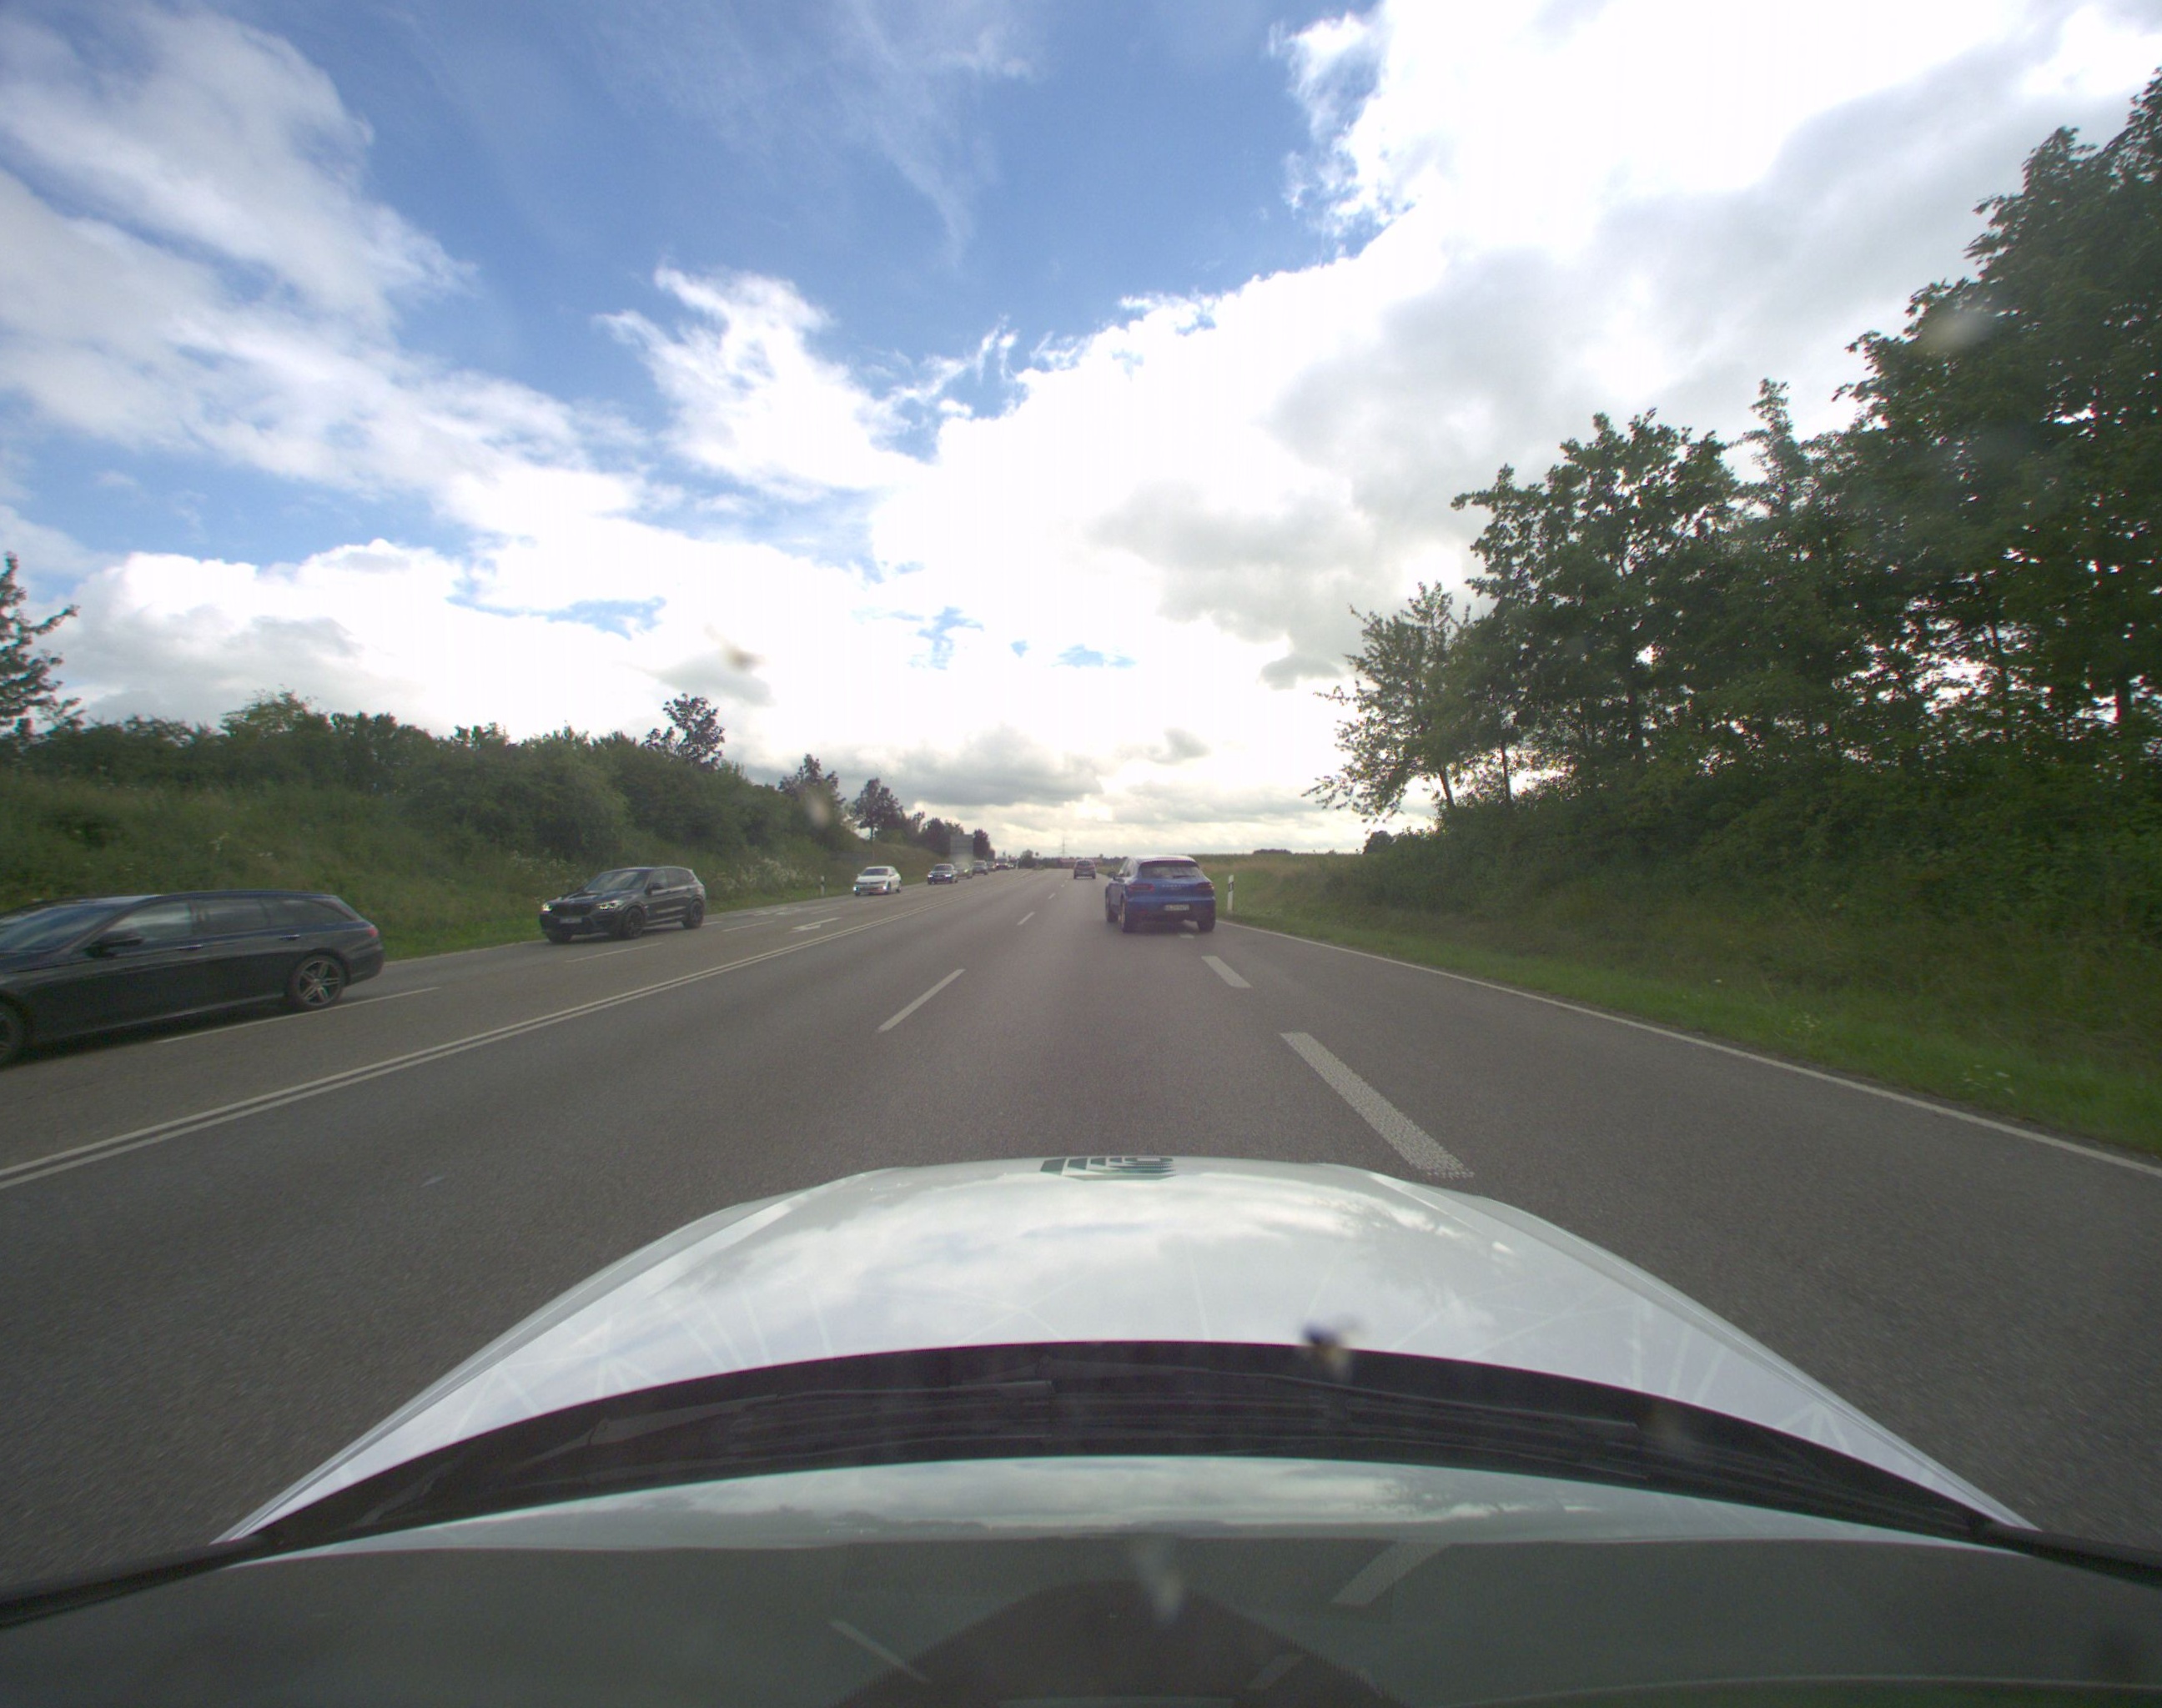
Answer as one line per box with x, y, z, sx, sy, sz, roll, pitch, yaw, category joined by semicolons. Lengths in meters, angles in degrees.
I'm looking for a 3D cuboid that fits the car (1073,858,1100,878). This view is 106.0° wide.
0.373;1.082;63.804;1.988;1.535;3.997;-1;0;-2;car

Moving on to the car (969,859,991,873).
-11.787;1.398;95.228;1.988;1.508;3.998;-2;0;-1;car

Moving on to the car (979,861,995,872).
-13.551;1.747;117.558;1.989;1.491;3.996;-2;0;-3;car

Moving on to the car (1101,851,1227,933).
1.708;0.767;18.499;1.990;1.570;4.748;-2;0;-5;car

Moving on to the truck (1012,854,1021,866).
-19.798;1.909;251.106;2.564;3.635;14.633;-2;0;-5;truck

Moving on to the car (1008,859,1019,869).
-15.374;2.207;185.785;2.360;2.211;5.298;-2;0;-5;car

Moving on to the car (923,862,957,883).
-10.459;1.358;60.774;1.989;1.508;3.995;-1;0;-3;car

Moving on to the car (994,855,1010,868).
-13.686;1.321;141.774;2.357;2.211;5.918;-2;0;-2;car

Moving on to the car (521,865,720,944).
-11.088;1.135;20.154;1.987;1.610;4.993;-2;0;1;car

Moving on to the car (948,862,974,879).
-11.292;1.572;76.827;1.791;1.486;4.167;-2;0;-1;car

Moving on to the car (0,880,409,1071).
-10.087;1.114;8.437;1.986;1.494;4.993;-2;0;1;car

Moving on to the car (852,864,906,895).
-10.382;1.284;42.195;1.662;1.442;4.147;-1;0;1;car
